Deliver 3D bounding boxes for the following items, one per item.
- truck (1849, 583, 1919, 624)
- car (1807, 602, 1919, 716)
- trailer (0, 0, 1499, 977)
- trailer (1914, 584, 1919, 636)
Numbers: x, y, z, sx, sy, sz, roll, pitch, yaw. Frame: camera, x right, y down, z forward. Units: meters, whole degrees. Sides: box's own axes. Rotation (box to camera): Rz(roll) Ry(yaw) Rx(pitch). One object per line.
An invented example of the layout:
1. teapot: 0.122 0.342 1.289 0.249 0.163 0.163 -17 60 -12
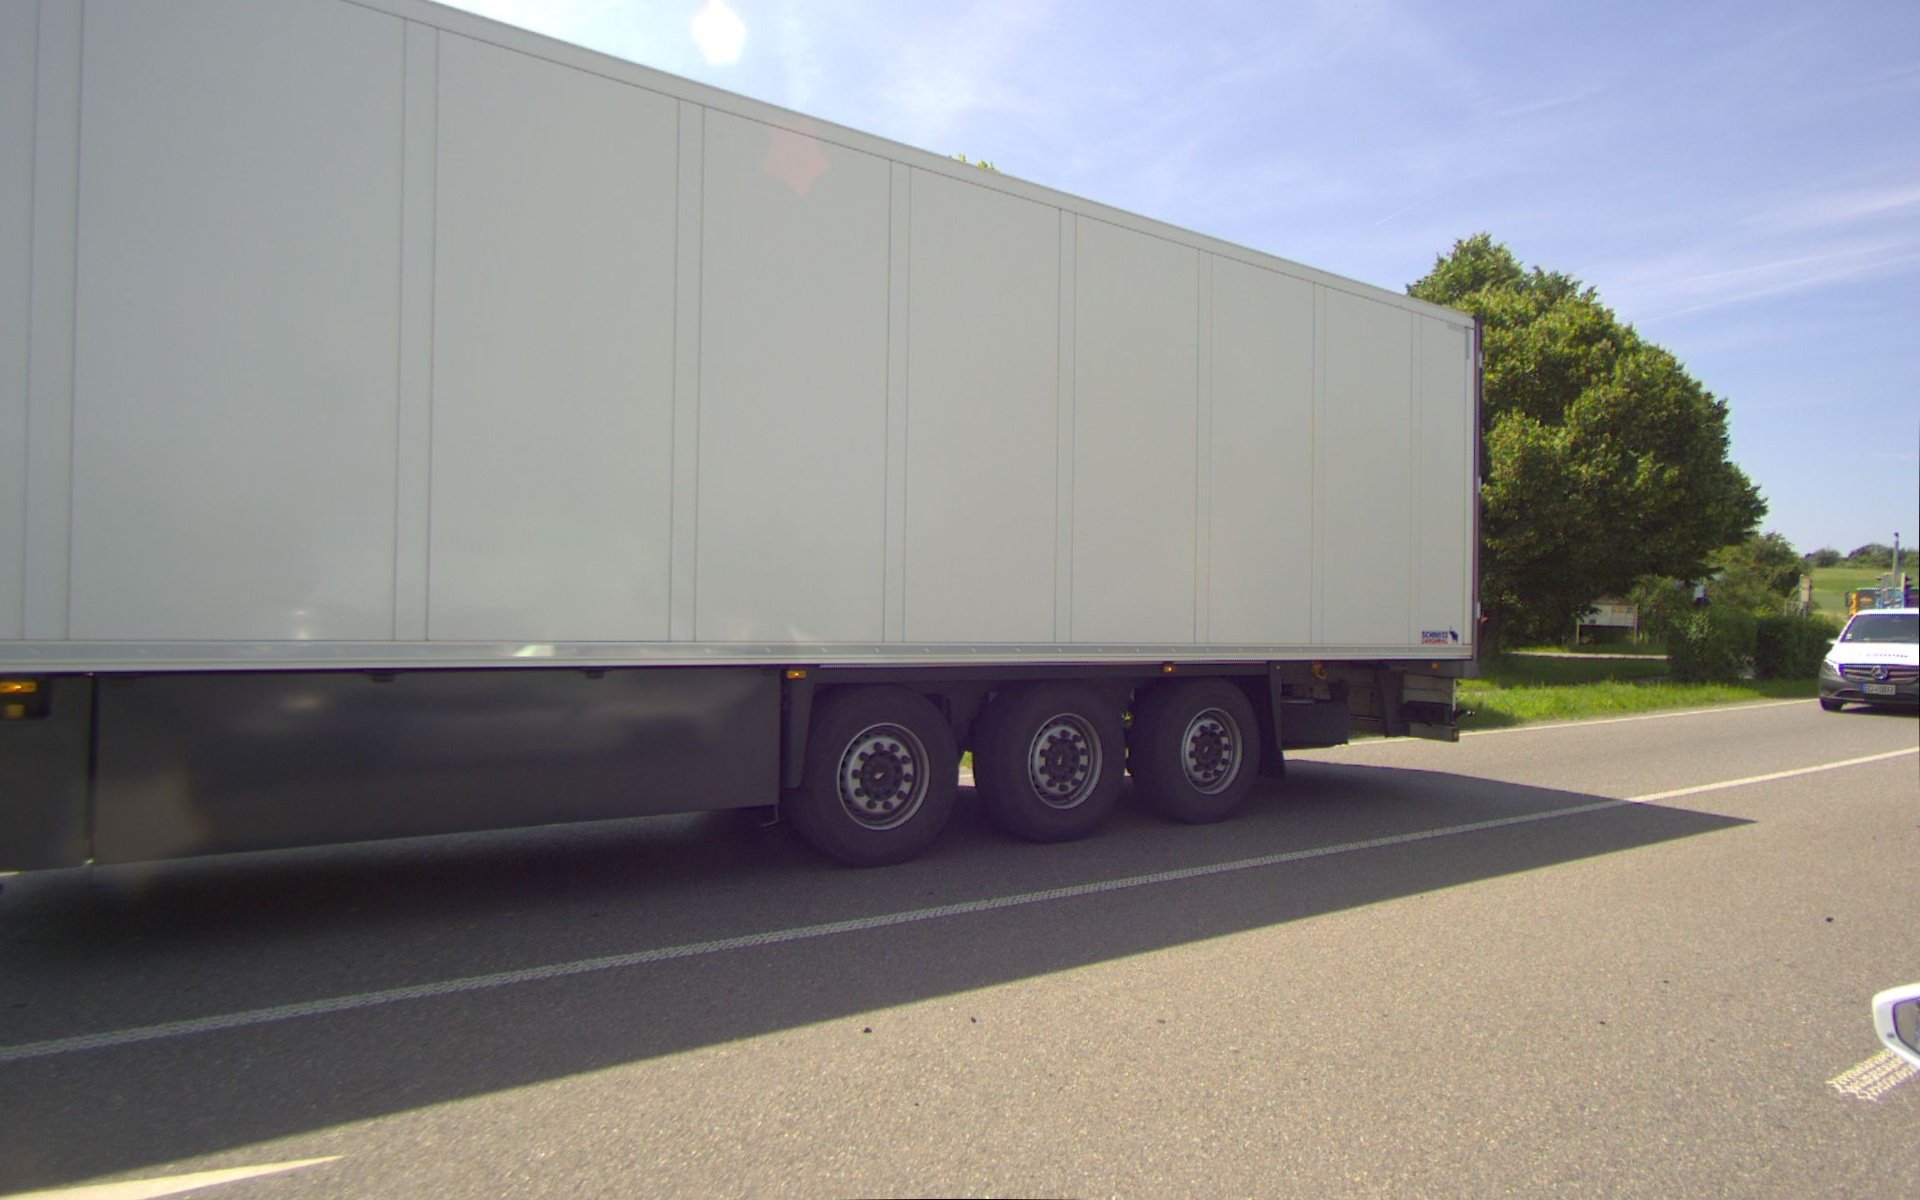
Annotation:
1. truck: 107.039 0.518 115.558 3.474 4.296 13.393 2 -1 26
2. car: 17.603 1.014 18.519 5.091 1.890 1.860 1 0 -36
3. trailer: -1.034 -0.602 6.689 11.529 4.155 2.764 2 -2 -32
4. trailer: 73.275 0.754 74.022 2.533 4.083 13.546 0 0 36
